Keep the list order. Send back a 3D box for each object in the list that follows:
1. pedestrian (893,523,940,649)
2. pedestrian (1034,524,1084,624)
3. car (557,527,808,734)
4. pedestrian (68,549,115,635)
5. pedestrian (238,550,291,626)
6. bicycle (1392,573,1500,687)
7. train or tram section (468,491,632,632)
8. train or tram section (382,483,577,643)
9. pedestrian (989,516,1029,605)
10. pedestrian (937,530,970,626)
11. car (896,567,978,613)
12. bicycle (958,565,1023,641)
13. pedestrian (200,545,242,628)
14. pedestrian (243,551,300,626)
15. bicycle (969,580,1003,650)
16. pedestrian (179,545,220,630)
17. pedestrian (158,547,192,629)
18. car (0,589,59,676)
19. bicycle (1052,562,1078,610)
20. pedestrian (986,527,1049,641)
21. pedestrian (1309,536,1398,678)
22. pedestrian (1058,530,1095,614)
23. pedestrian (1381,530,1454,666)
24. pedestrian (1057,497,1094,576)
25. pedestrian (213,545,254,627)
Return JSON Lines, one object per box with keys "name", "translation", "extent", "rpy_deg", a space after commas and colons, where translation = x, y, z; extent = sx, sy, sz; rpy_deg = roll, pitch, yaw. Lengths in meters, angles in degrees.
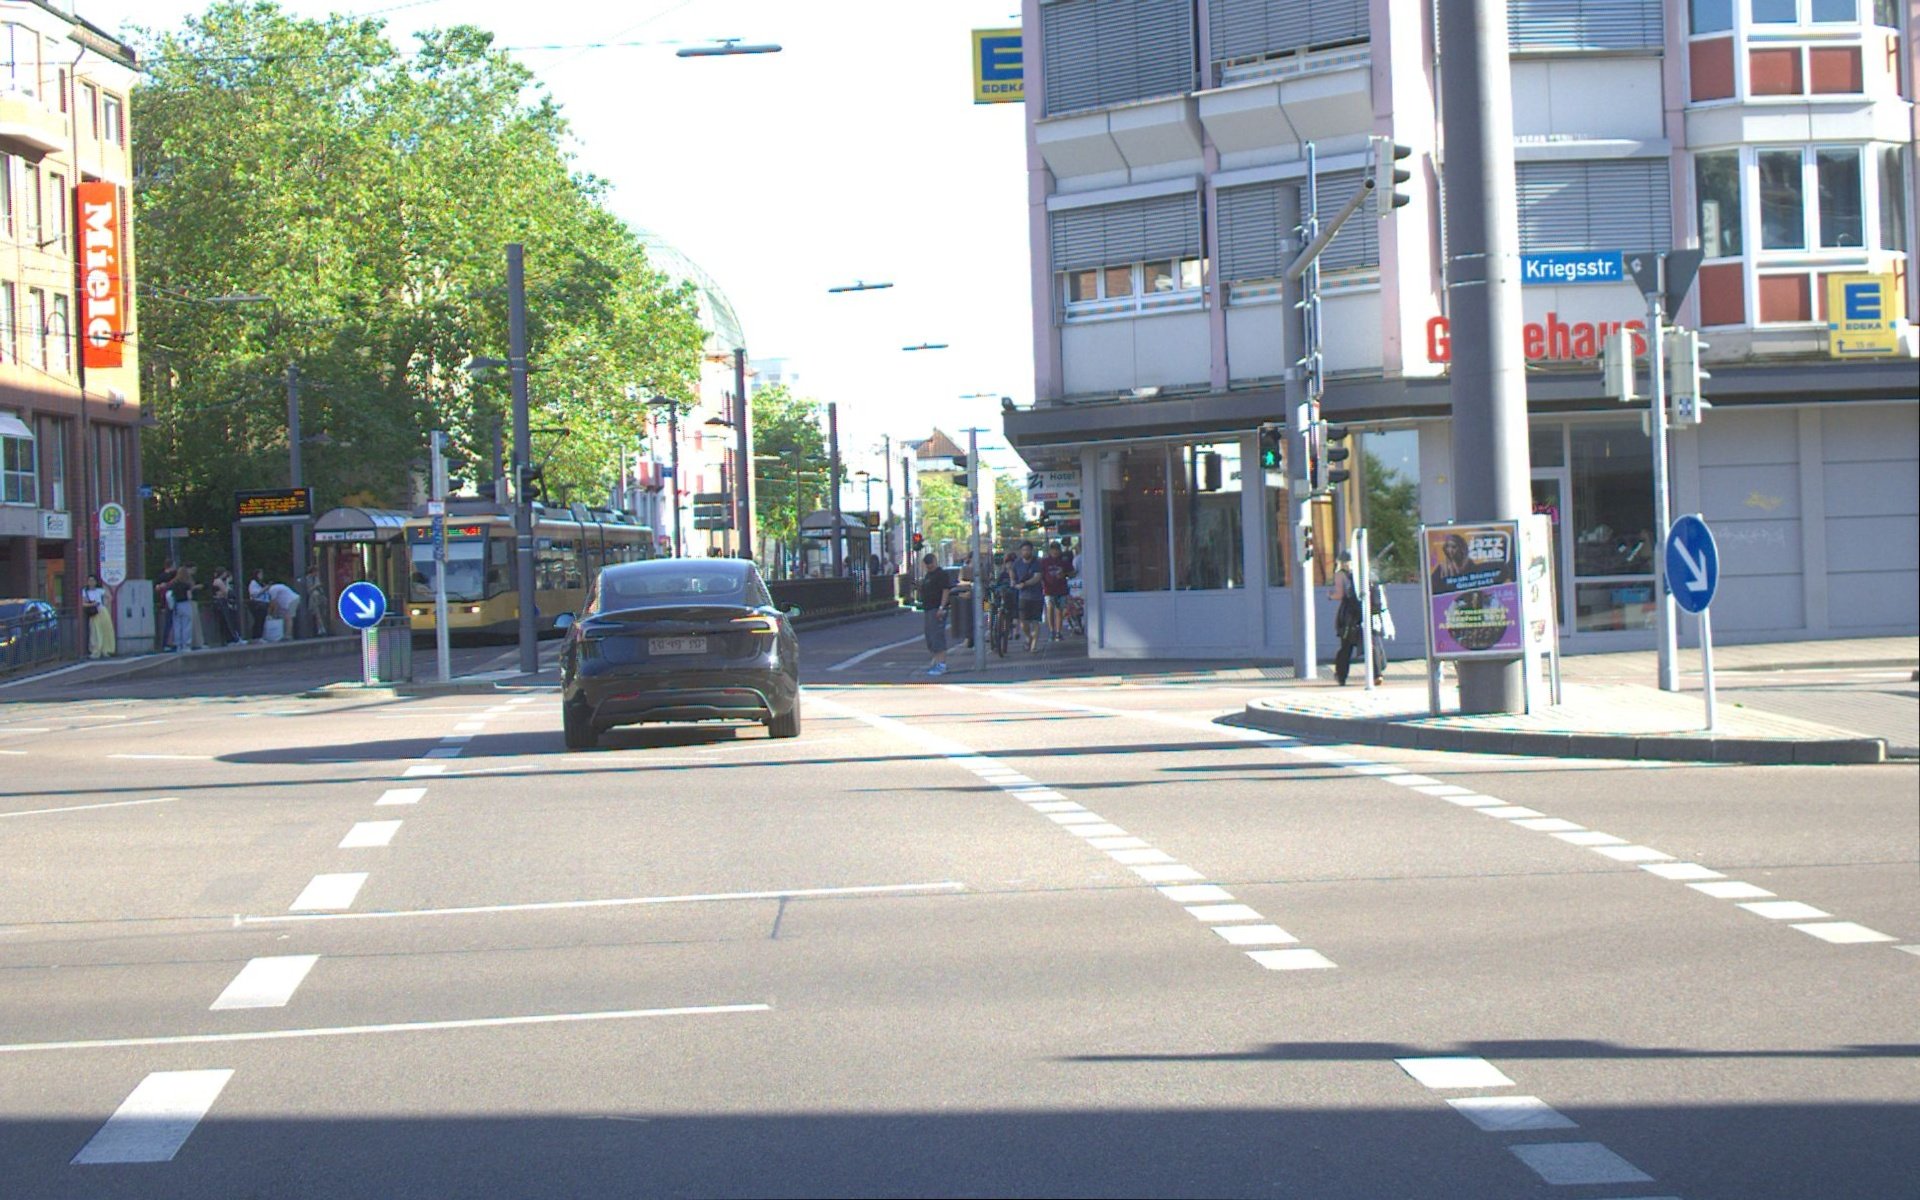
{"name": "pedestrian", "translation": [-0.631, -0.208, 49.281], "extent": [0.626, 1.776, 0.918], "rpy_deg": [-1, 0, -1]}
{"name": "pedestrian", "translation": [1.691, -0.445, 58.761], "extent": [0.686, 1.682, 0.671], "rpy_deg": [-1, 0, -12]}
{"name": "car", "translation": [-2.197, 0.230, 27.647], "extent": [1.790, 1.446, 3.940], "rpy_deg": [-3, 0, -4]}
{"name": "pedestrian", "translation": [-15.981, -0.143, 63.285], "extent": [0.635, 1.558, 0.585], "rpy_deg": [-1, 0, 6]}
{"name": "pedestrian", "translation": [-15.040, -0.259, 74.334], "extent": [0.999, 1.619, 0.848], "rpy_deg": [-1, 0, -6]}
{"name": "bicycle", "translation": [5.656, 0.339, 40.109], "extent": [0.543, 1.280, 1.908], "rpy_deg": [-1, 1, -14]}
{"name": "train or tram section", "translation": [-10.930, -1.044, 92.600], "extent": [2.713, 3.534, 10.168], "rpy_deg": [-1, 1, 2]}
{"name": "train or tram section", "translation": [-11.389, -0.890, 82.470], "extent": [2.729, 3.530, 10.086], "rpy_deg": [-1, 1, 3]}
{"name": "pedestrian", "translation": [0.933, -0.748, 64.970], "extent": [0.696, 1.672, 0.750], "rpy_deg": [-1, 0, 3]}
{"name": "pedestrian", "translation": [-0.109, -0.368, 56.325], "extent": [0.471, 1.557, 0.545], "rpy_deg": [-1, 0, -2]}
{"name": "car", "translation": [-0.866, -0.374, 130.749], "extent": [1.739, 1.659, 3.704], "rpy_deg": [-1, 1, 24]}
{"name": "bicycle", "translation": [0.465, 0.045, 53.646], "extent": [0.488, 1.157, 1.974], "rpy_deg": [-1, 1, -15]}
{"name": "pedestrian", "translation": [-15.546, -0.287, 72.350], "extent": [0.636, 1.715, 0.585], "rpy_deg": [-1, 0, 11]}
{"name": "pedestrian", "translation": [-15.067, -0.257, 75.240], "extent": [1.105, 1.619, 0.848], "rpy_deg": [-1, 0, -6]}
{"name": "bicycle", "translation": [0.417, 0.232, 55.879], "extent": [0.488, 1.098, 2.125], "rpy_deg": [-1, 1, 0]}
{"name": "pedestrian", "translation": [-15.498, -0.257, 70.032], "extent": [0.635, 1.715, 0.585], "rpy_deg": [-2, 1, -29]}
{"name": "pedestrian", "translation": [-14.917, -0.231, 65.333], "extent": [0.583, 1.525, 0.637], "rpy_deg": [-1, 0, -12]}
{"name": "car", "translation": [-18.299, 0.634, 64.290], "extent": [1.817, 1.538, 3.792], "rpy_deg": [-3, 1, 0]}
{"name": "bicycle", "translation": [1.943, -0.260, 63.423], "extent": [0.414, 0.854, 1.237], "rpy_deg": [-1, 1, 4]}
{"name": "pedestrian", "translation": [0.908, -0.254, 53.989], "extent": [0.915, 1.748, 0.839], "rpy_deg": [-1, 0, 4]}
{"name": "pedestrian", "translation": [4.494, 0.071, 39.326], "extent": [0.779, 1.571, 0.868], "rpy_deg": [-1, 2, -10]}
{"name": "pedestrian", "translation": [2.382, -0.572, 70.141], "extent": [0.696, 1.672, 0.750], "rpy_deg": [-1, 0, 3]}
{"name": "pedestrian", "translation": [5.317, -0.029, 39.971], "extent": [0.525, 1.549, 0.868], "rpy_deg": [-1, 0, -14]}
{"name": "pedestrian", "translation": [2.475, -1.353, 73.765], "extent": [0.747, 1.672, 0.699], "rpy_deg": [-1, 0, 3]}
{"name": "pedestrian", "translation": [-15.412, -0.298, 72.950], "extent": [0.636, 1.715, 0.609], "rpy_deg": [-1, 0, 11]}
